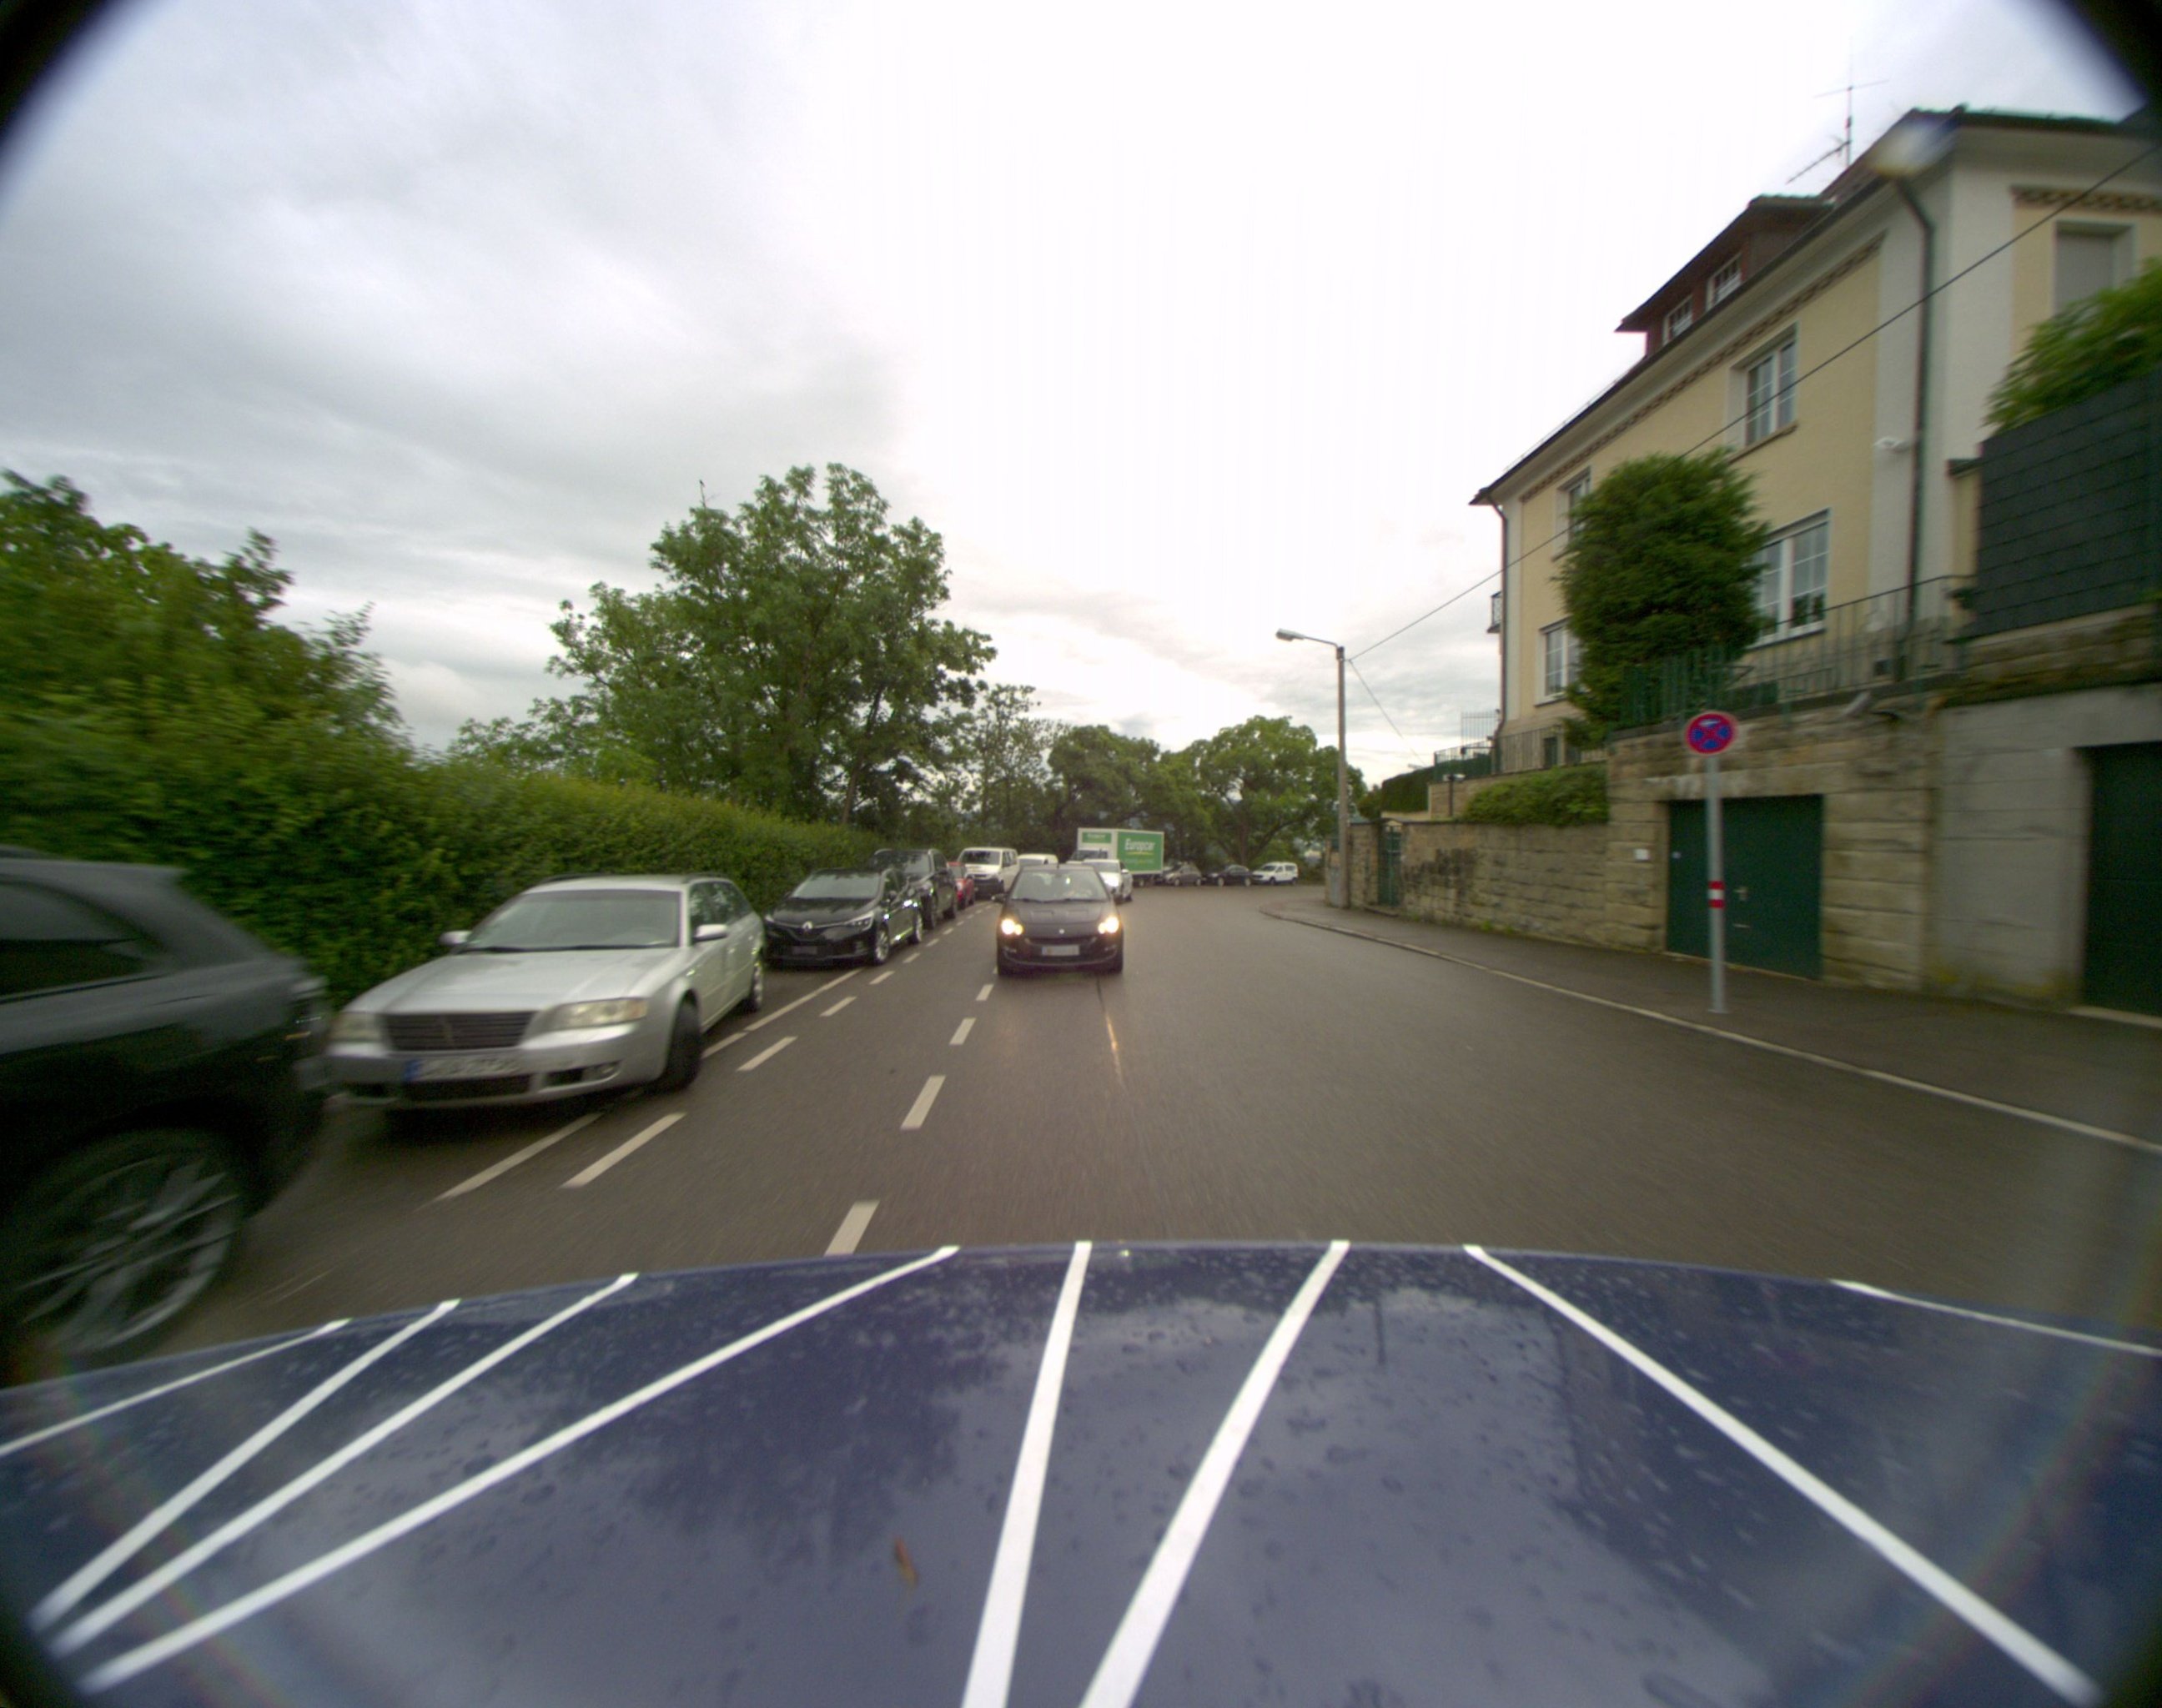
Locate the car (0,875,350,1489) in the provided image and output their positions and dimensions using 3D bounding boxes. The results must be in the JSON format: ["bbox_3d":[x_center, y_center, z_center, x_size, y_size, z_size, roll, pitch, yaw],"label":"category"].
[{"bbox_3d":[-3.891,0.949,0.789,1.892,1.653,4.547,-2,0,-2],"label":"car"}]

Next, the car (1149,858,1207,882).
[{"bbox_3d":[6.577,1.078,51.406,1.734,1.494,4.145,3,1,43],"label":"car"}]

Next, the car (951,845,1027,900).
[{"bbox_3d":[-3.533,0.680,29.964,1.863,1.936,4.810,1,0,7],"label":"car"}]

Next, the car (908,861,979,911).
[{"bbox_3d":[-4.255,0.948,24.031,1.675,1.405,3.741,0,0,-2],"label":"car"}]

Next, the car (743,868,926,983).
[{"bbox_3d":[-3.767,1.015,12.358,1.693,1.414,3.982,-1,1,-1],"label":"car"}]

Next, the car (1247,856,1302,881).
[{"bbox_3d":[14.954,1.118,58.744,4.433,1.811,1.747,2,1,-39],"label":"car"}]

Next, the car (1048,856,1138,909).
[{"bbox_3d":[0.551,0.947,27.306,2.189,1.698,4.887,-1,0,13],"label":"car"}]

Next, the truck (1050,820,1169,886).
[{"bbox_3d":[1.928,-0.042,44.762,2.774,3.451,8.952,3,1,32],"label":"truck"}]

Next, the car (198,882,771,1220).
[{"bbox_3d":[-3.860,1.033,6.103,1.805,1.432,4.637,-1,0,-13],"label":"car"}]

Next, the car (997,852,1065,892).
[{"bbox_3d":[-2.251,0.806,35.710,1.862,1.760,4.384,0,-1,15],"label":"car"}]

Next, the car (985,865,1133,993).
[{"bbox_3d":[-0.333,0.950,11.418,1.784,1.477,4.404,1,0,-2],"label":"car"}]

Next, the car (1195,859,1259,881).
[{"bbox_3d":[10.658,1.164,55.274,4.906,1.533,1.860,2,0,-40],"label":"car"}]

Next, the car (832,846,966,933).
[{"bbox_3d":[-4.145,0.755,18.225,2.032,1.772,4.898,-1,0,0],"label":"car"}]
